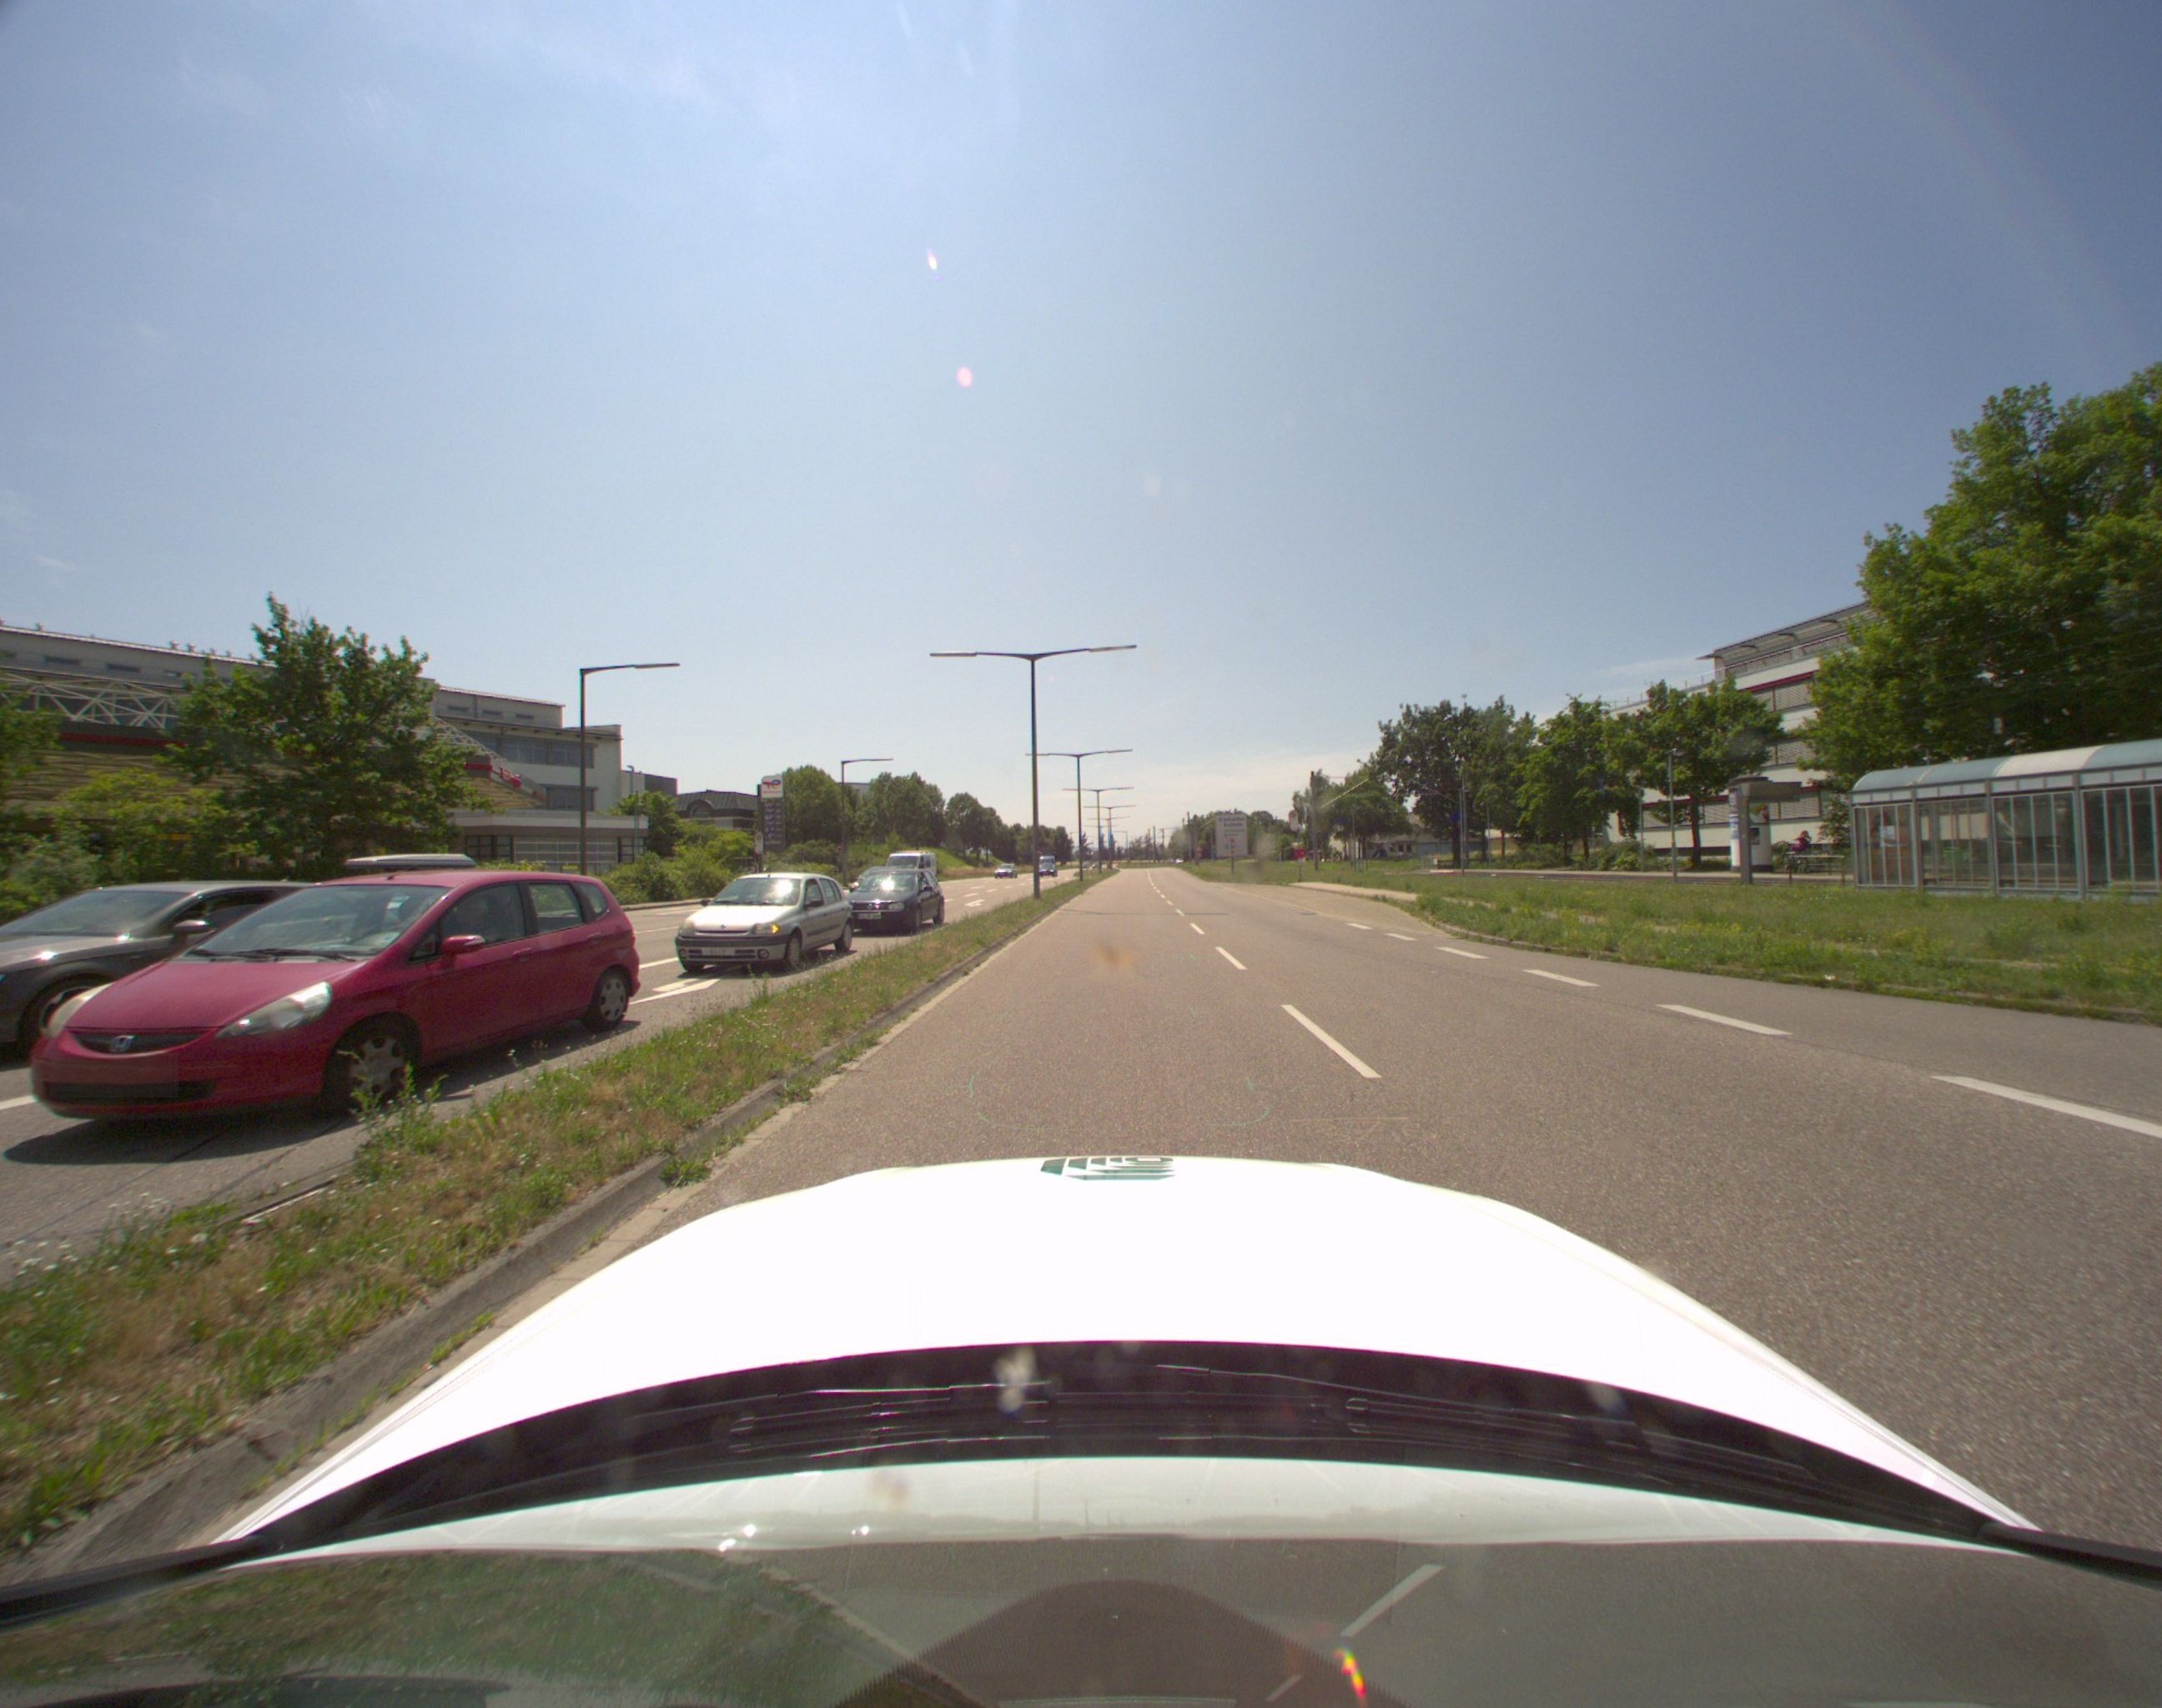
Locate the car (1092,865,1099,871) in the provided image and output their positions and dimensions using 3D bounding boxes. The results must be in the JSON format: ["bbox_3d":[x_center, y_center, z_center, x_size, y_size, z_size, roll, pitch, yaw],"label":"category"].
[{"bbox_3d":[3.716,3.714,210.276,1.685,1.492,4.002,-2,-1,2],"label":"car"}]

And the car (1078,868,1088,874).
[{"bbox_3d":[0.466,4.085,201.200,1.985,1.360,4.671,-3,-1,4],"label":"car"}]

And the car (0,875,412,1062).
[{"bbox_3d":[-9.099,0.933,8.039,1.591,1.385,4.004,0,-1,1],"label":"car"}]

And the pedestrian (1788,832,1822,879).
[{"bbox_3d":[28.531,0.078,32.090,0.694,1.842,0.709,0,-2,-13],"label":"pedestrian"}]

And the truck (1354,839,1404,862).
[{"bbox_3d":[40.925,-0.435,111.858,5.830,2.843,2.316,-3,-1,-5],"label":"truck"}]

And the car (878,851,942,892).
[{"bbox_3d":[-9.960,0.989,47.933,2.239,2.273,5.453,0,-1,4],"label":"car"}]

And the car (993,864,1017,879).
[{"bbox_3d":[-7.841,1.778,84.273,1.824,1.449,4.853,-2,-1,2],"label":"car"}]

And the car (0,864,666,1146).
[{"bbox_3d":[-5.180,0.846,6.431,1.652,1.490,4.001,-1,-1,1],"label":"car"}]

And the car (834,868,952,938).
[{"bbox_3d":[-4.311,1.080,19.301,1.669,1.434,4.192,-1,-1,2],"label":"car"}]

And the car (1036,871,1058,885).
[{"bbox_3d":[-3.607,2.543,87.046,1.723,1.458,4.569,-2,-1,4],"label":"car"}]

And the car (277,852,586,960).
[{"bbox_3d":[-12.313,0.883,16.026,1.958,1.750,5.023,-1,-1,1],"label":"car"}]

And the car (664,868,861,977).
[{"bbox_3d":[-4.882,0.974,13.079,1.555,1.423,3.855,-1,0,1],"label":"car"}]
